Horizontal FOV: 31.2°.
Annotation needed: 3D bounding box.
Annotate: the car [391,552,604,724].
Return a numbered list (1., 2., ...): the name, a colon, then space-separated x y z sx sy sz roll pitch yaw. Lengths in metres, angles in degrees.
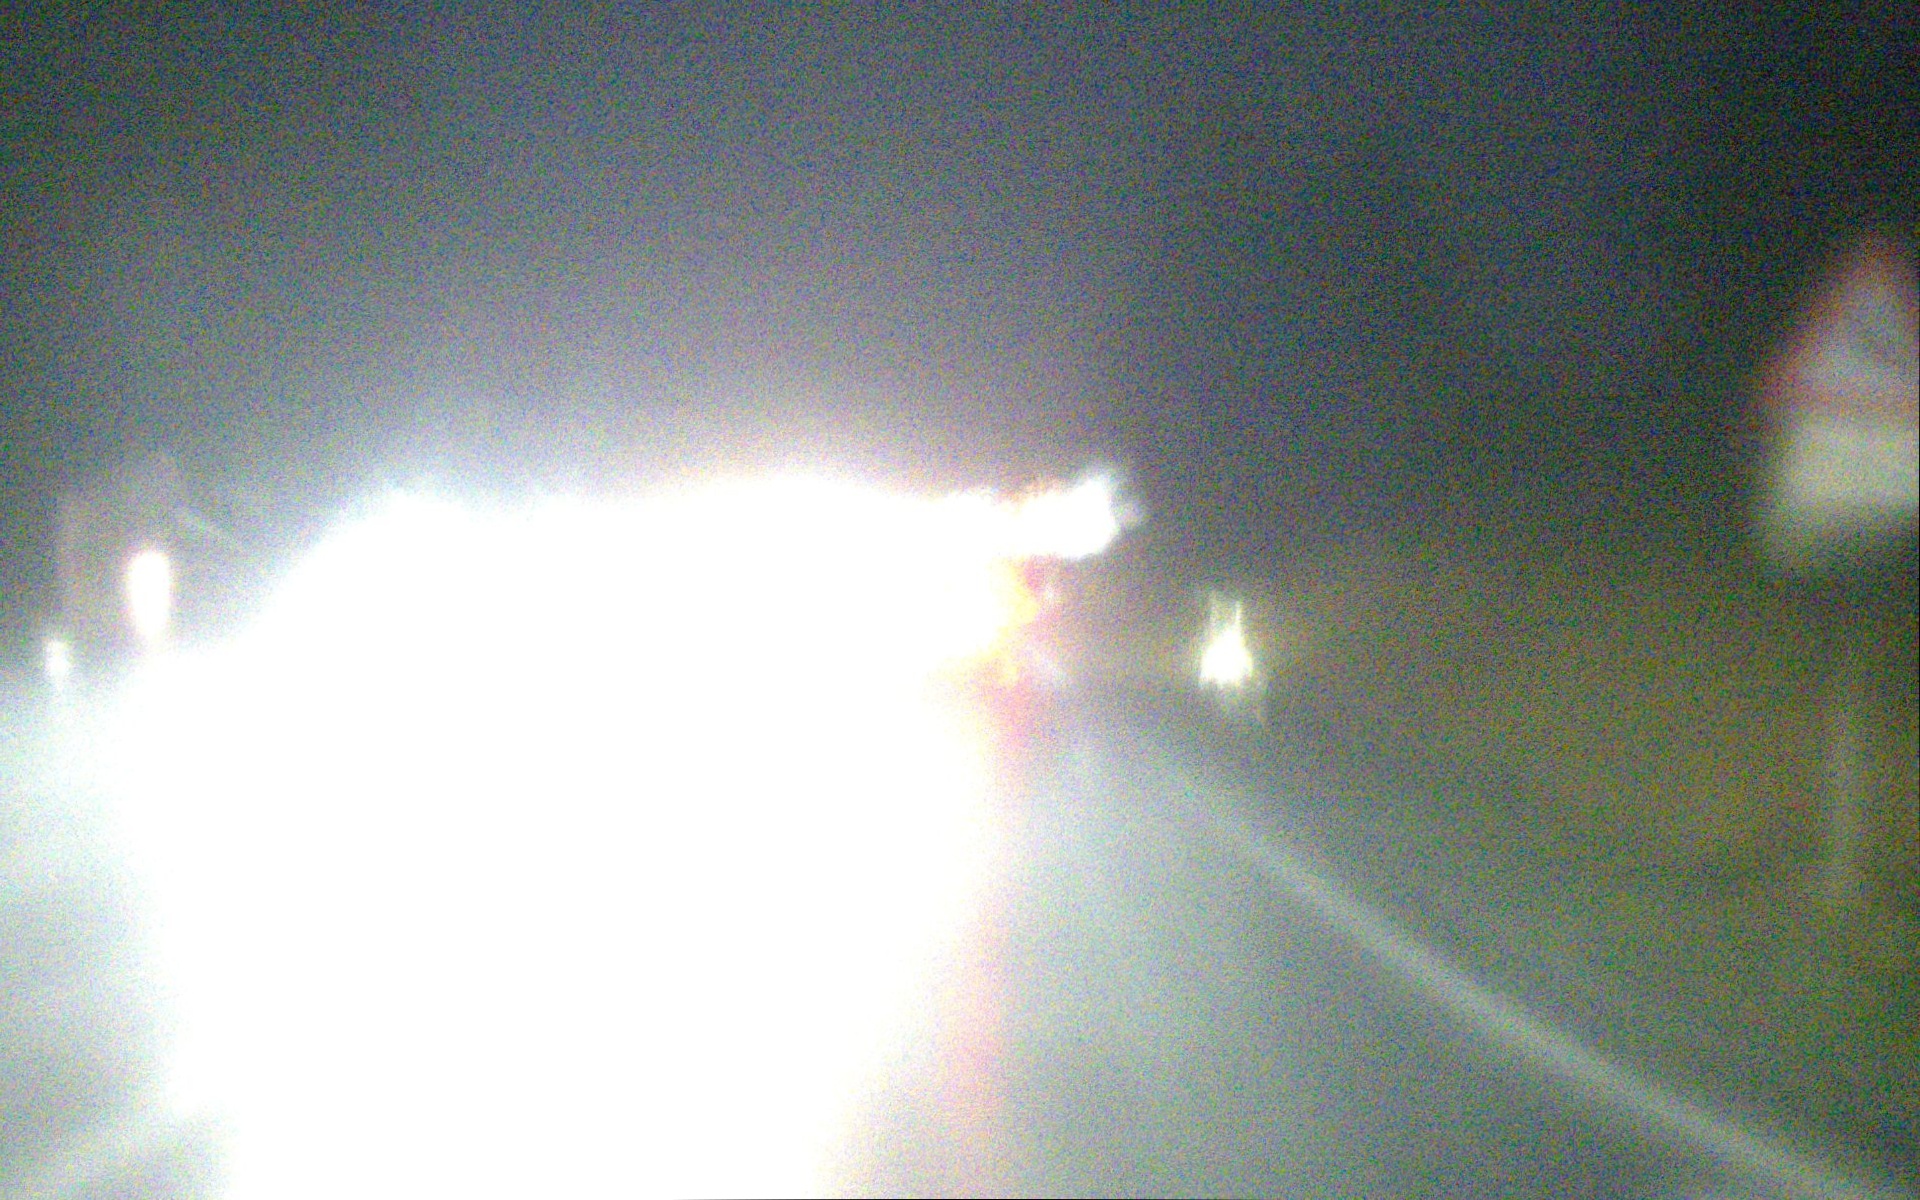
1. car: -4.149 0.297 31.272 1.746 1.421 3.687 -1 1 -5

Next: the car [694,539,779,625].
1. car: -5.412 -0.460 83.229 1.993 2.007 4.001 1 1 -4

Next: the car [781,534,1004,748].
1. car: -0.681 0.349 34.657 2.093 2.007 4.000 1 1 -1
